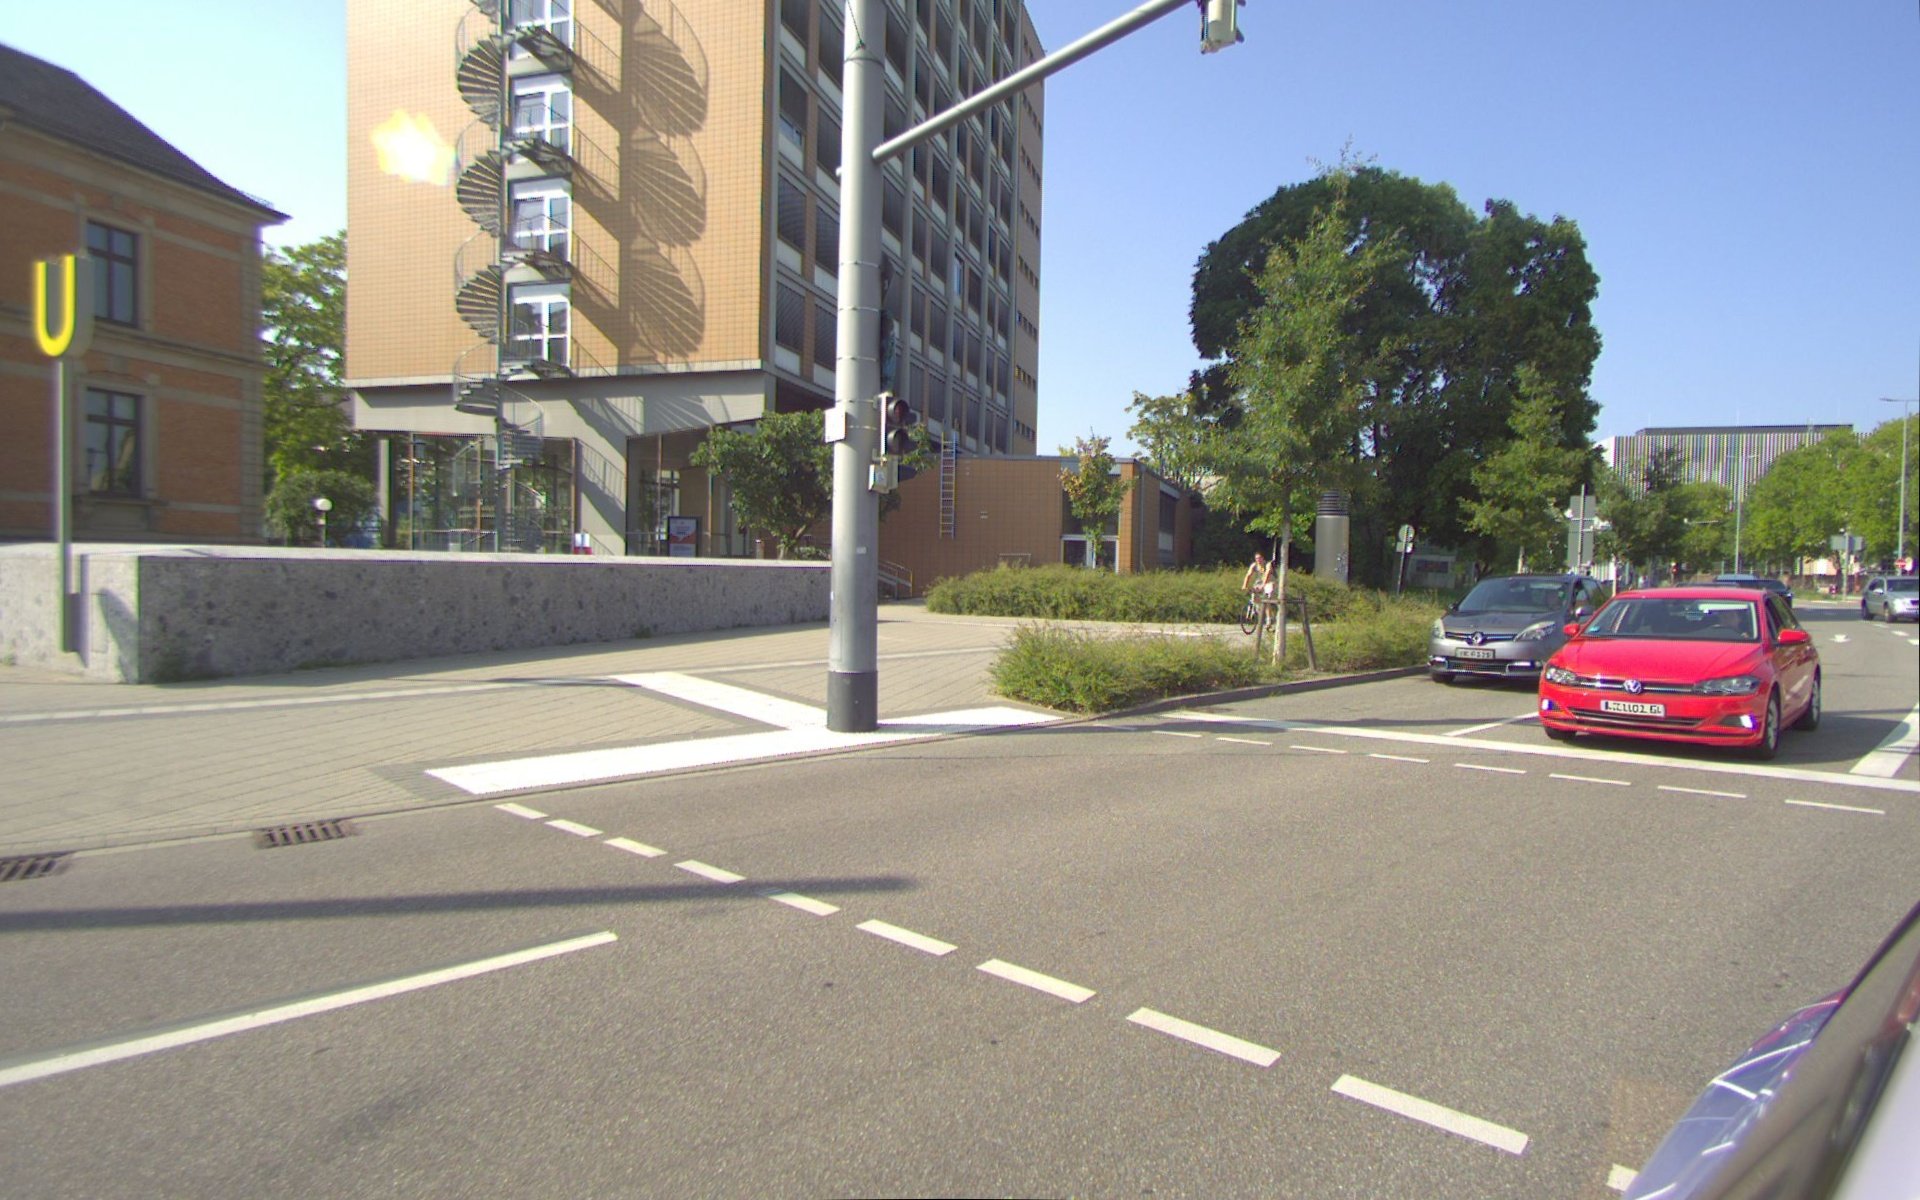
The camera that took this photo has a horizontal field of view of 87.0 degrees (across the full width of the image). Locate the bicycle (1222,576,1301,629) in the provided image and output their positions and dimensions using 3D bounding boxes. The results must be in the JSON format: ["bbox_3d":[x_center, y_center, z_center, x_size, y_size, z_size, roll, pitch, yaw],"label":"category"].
[{"bbox_3d":[6.818,0.029,22.820,0.771,1.131,2.268,2,2,43],"label":"bicycle"}]

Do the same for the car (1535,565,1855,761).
[{"bbox_3d":[7.369,0.453,9.969,4.297,1.510,1.685,-1,2,-42],"label":"car"}]

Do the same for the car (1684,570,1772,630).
[{"bbox_3d":[22.537,-0.028,29.683,1.931,1.627,4.470,1,1,38],"label":"car"}]

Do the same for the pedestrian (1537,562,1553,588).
[{"bbox_3d":[33.872,-1.437,58.630,0.722,1.461,0.847,2,2,34],"label":"pedestrian"}]

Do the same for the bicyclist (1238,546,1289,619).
[{"bbox_3d":[6.841,-0.402,22.835,0.771,1.612,0.910,2,2,43],"label":"bicyclist"}]

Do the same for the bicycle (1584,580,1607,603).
[{"bbox_3d":[27.822,-0.394,44.292,0.717,0.971,1.897,2,2,36],"label":"bicycle"}]

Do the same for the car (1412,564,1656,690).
[{"bbox_3d":[8.727,0.320,15.240,4.343,1.626,1.782,0,2,-40],"label":"car"}]

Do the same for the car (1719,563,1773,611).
[{"bbox_3d":[34.557,-0.599,44.570,1.678,1.965,4.315,2,2,36],"label":"car"}]

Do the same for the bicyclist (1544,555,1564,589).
[{"bbox_3d":[29.350,-1.382,49.971,0.768,1.697,0.913,1,1,34],"label":"bicyclist"}]

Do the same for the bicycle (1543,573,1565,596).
[{"bbox_3d":[29.336,-0.782,49.961,0.768,1.131,2.276,1,2,34],"label":"bicycle"}]

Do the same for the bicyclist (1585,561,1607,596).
[{"bbox_3d":[27.884,-0.947,44.352,0.717,1.531,0.991,2,2,36],"label":"bicyclist"}]

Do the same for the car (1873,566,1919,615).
[{"bbox_3d":[36.214,-0.351,38.199,1.770,1.742,4.481,-1,-1,32],"label":"car"}]

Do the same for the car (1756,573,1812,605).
[{"bbox_3d":[45.405,-0.642,55.847,1.674,1.674,4.326,2,2,30],"label":"car"}]
